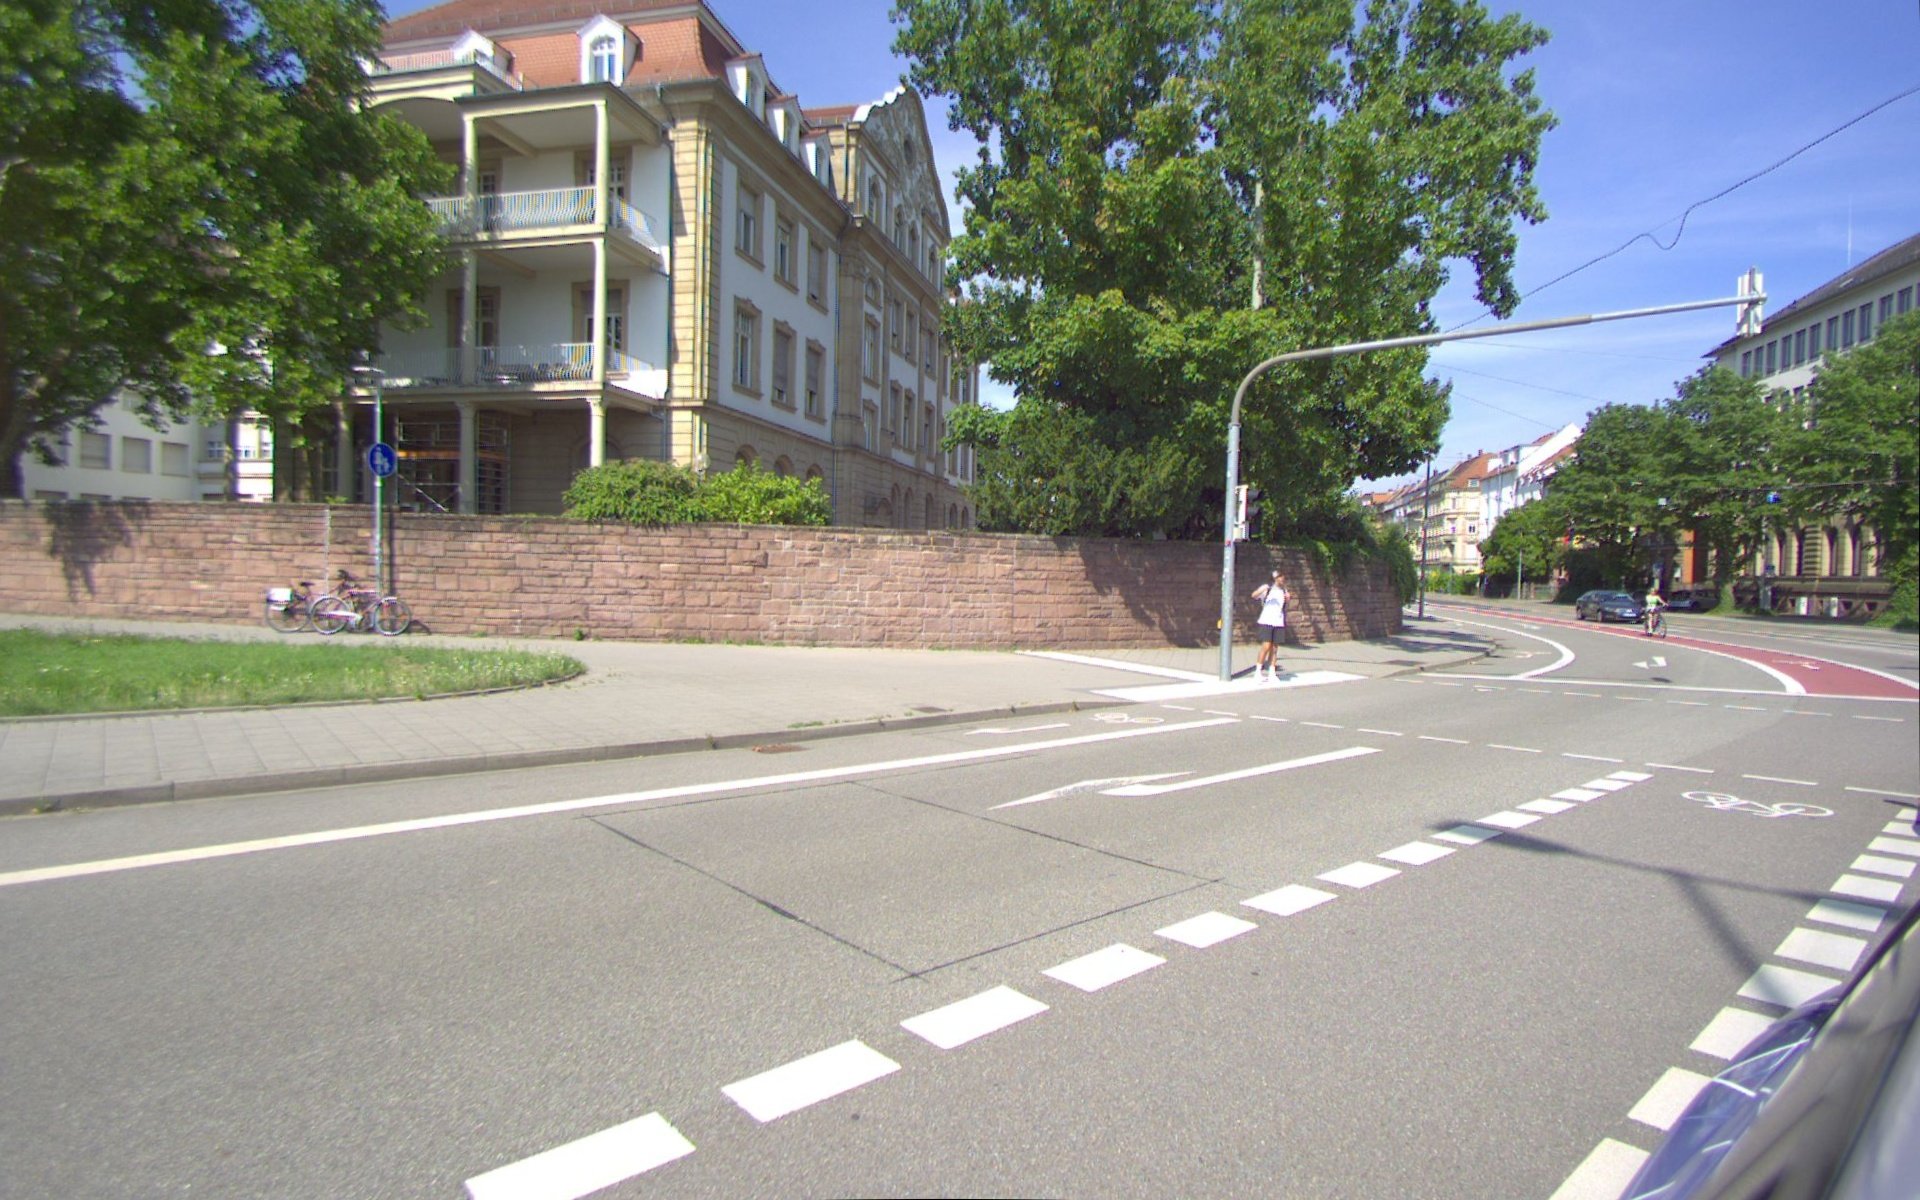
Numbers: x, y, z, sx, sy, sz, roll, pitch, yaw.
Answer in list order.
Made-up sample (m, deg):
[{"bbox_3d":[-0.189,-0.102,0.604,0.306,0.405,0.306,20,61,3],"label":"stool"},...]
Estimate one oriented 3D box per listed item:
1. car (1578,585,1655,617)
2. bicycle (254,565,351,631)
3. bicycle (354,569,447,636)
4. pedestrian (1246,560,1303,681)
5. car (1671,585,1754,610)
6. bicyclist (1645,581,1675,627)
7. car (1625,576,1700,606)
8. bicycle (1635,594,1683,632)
[{"bbox_3d":[30.113,0.019,46.568,1.778,1.393,4.255,1,1,16],"label":"car"},{"bbox_3d":[-11.628,-0.031,17.933,1.406,1.136,0.350,1,2,-27],"label":"bicycle"},{"bbox_3d":[-9.972,0.044,18.051,1.406,1.136,0.350,2,1,-6],"label":"bicycle"},{"bbox_3d":[5.176,0.320,16.652,0.649,1.897,0.788,4,2,30],"label":"pedestrian"},{"bbox_3d":[50.644,-0.182,68.228,3.940,1.482,1.992,2,2,13],"label":"car"},{"bbox_3d":[24.627,0.136,35.603,0.580,1.567,0.927,-1,0,17],"label":"bicyclist"},{"bbox_3d":[51.297,-0.686,73.941,3.940,2.038,1.992,2,2,13],"label":"car"},{"bbox_3d":[24.623,0.435,35.667,0.676,1.237,2.176,2,2,16],"label":"bicycle"}]
